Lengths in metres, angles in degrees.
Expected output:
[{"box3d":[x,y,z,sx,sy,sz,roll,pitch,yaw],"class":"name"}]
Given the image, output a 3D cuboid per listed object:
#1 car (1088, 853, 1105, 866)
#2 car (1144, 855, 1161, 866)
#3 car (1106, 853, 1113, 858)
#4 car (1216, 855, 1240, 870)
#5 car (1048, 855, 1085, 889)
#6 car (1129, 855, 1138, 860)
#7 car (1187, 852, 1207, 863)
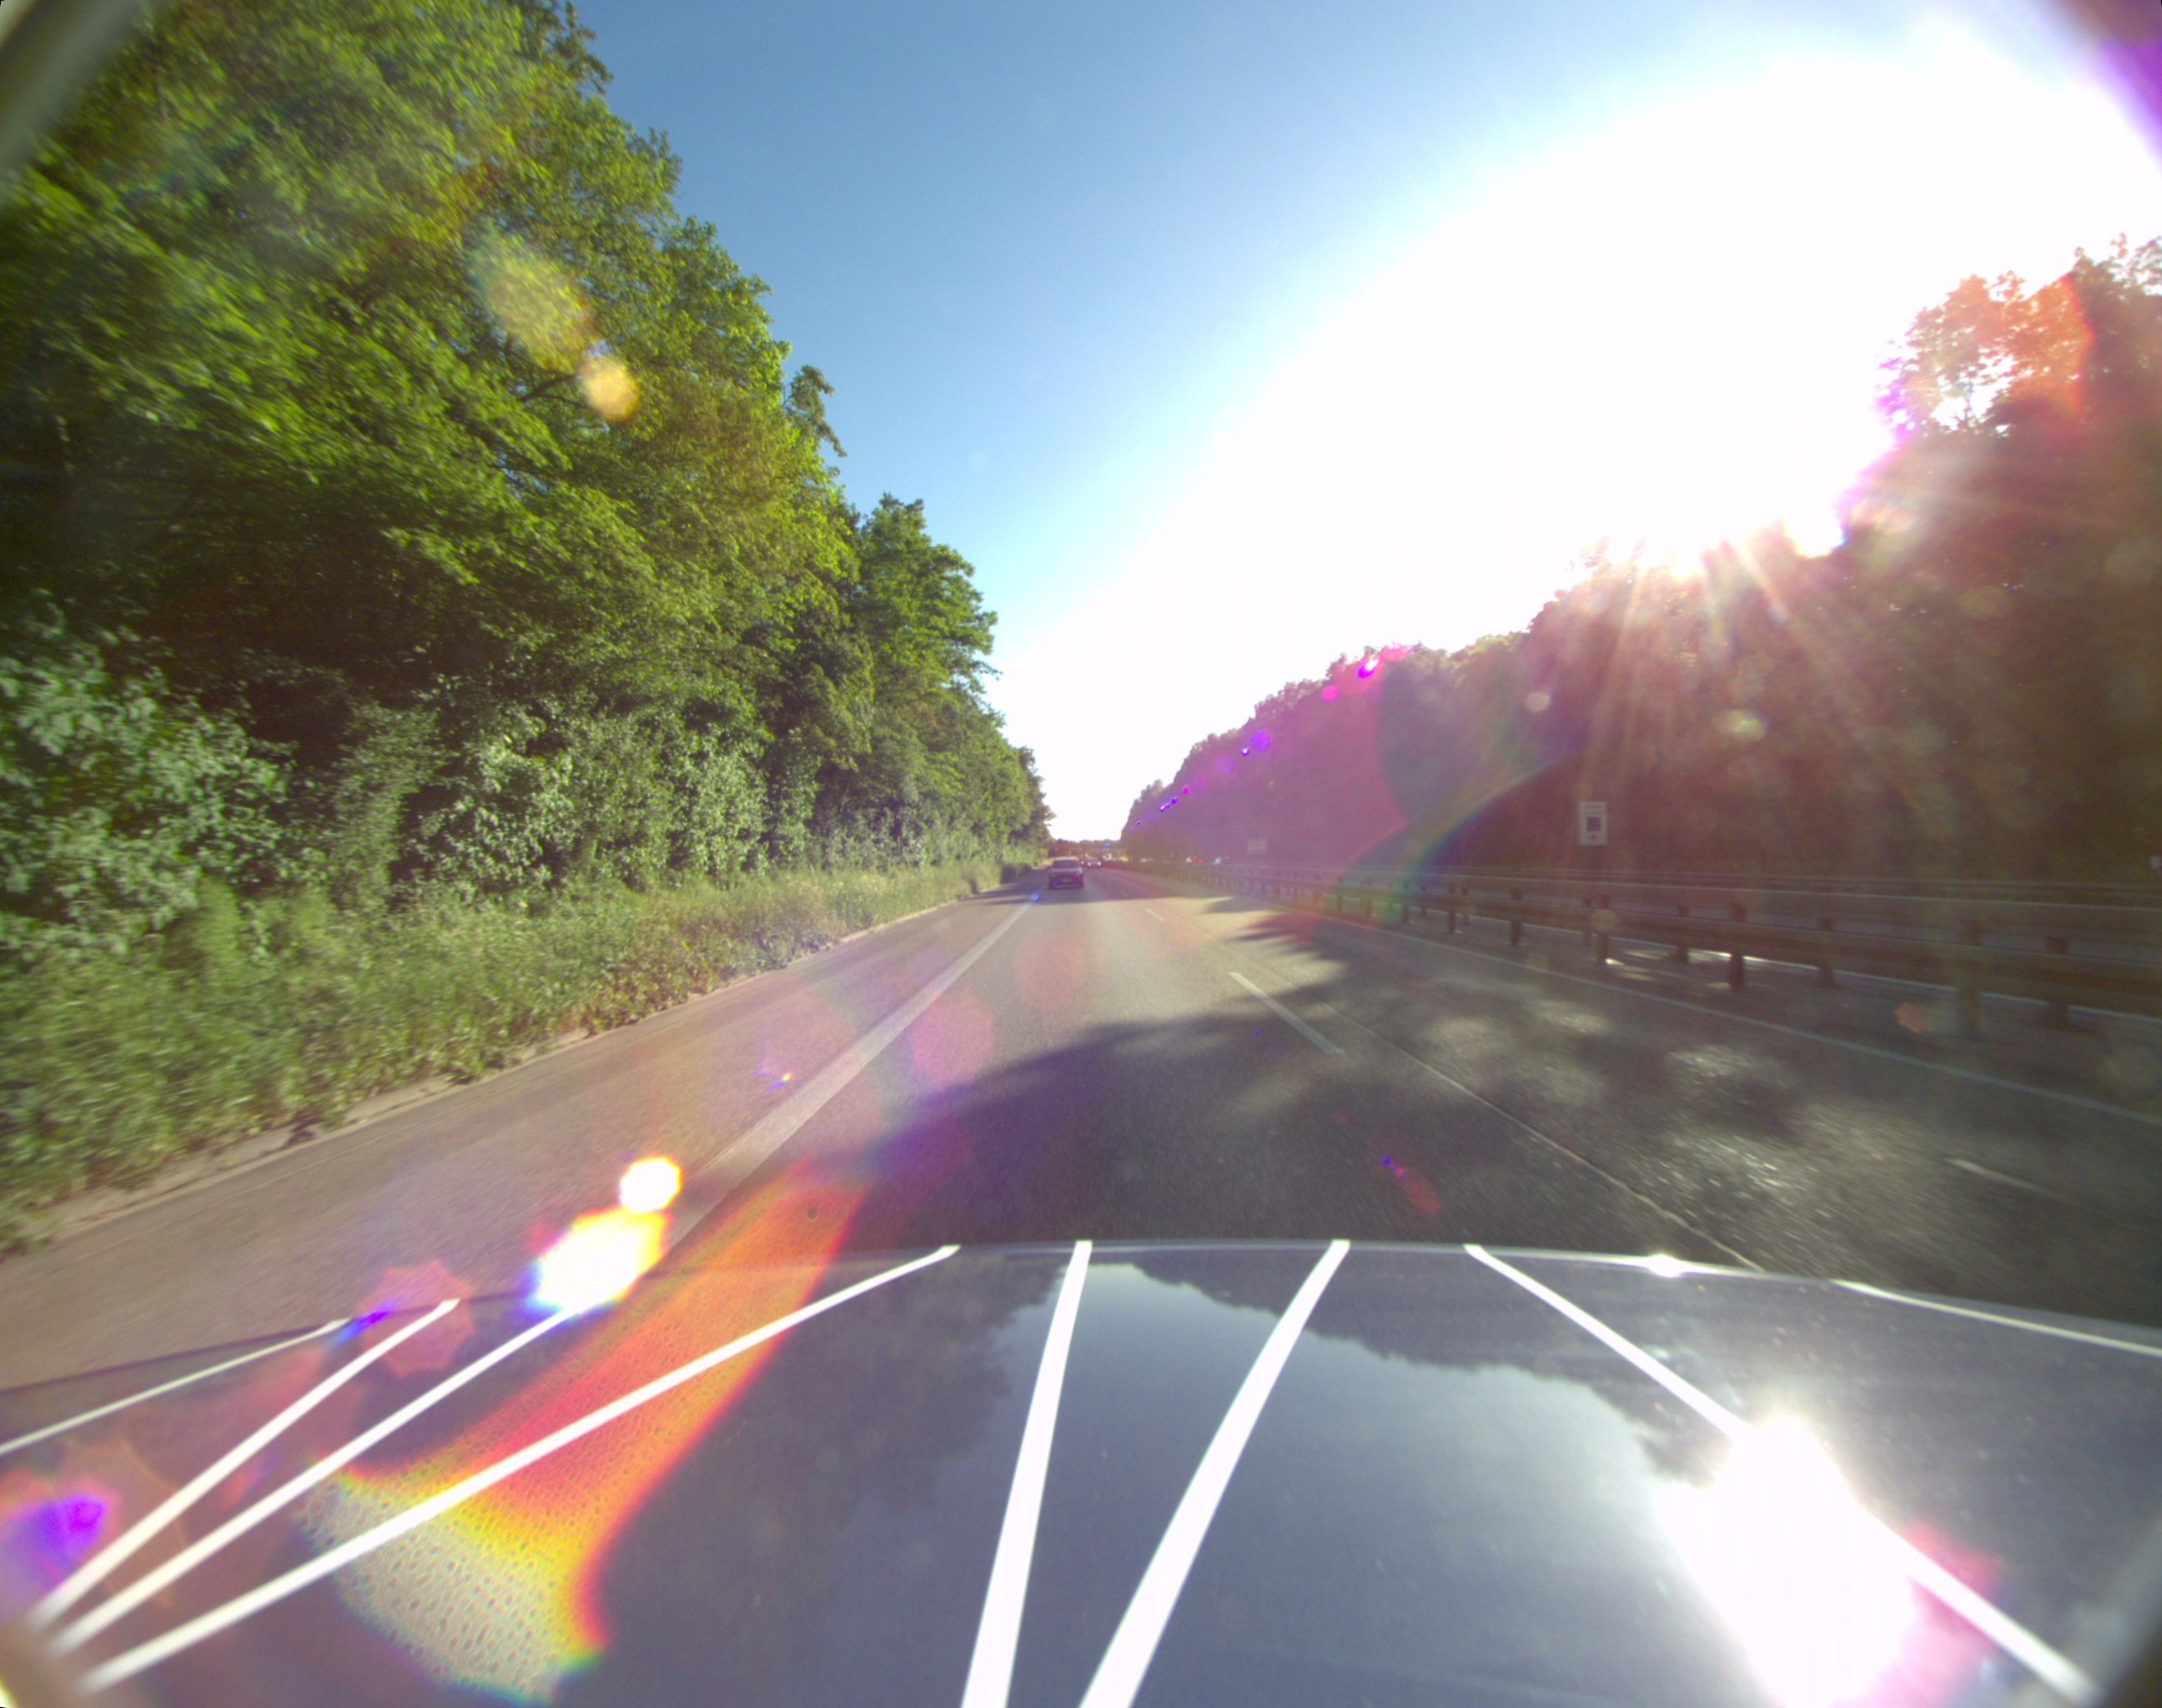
[{"box3d":[2.066,0.728,102.027,1.999,1.793,3.999,1,0,-1],"class":"car"},{"box3d":[10.155,0.931,108.581,1.999,1.455,4.740,1,0,0],"class":"car"},{"box3d":[9.187,0.492,248.276,1.999,1.689,4.906,1,0,-2],"class":"car"},{"box3d":[14.536,0.849,75.270,1.610,1.414,3.999,-1,0,-1],"class":"car"},{"box3d":[-0.719,0.900,39.420,1.712,1.565,3.422,-2,0,2],"class":"car"},{"box3d":[14.203,0.961,207.061,1.999,1.477,3.999,1,0,-2],"class":"car"},{"box3d":[16.636,0.465,109.050,1.999,1.455,4.902,1,0,0],"class":"car"}]
